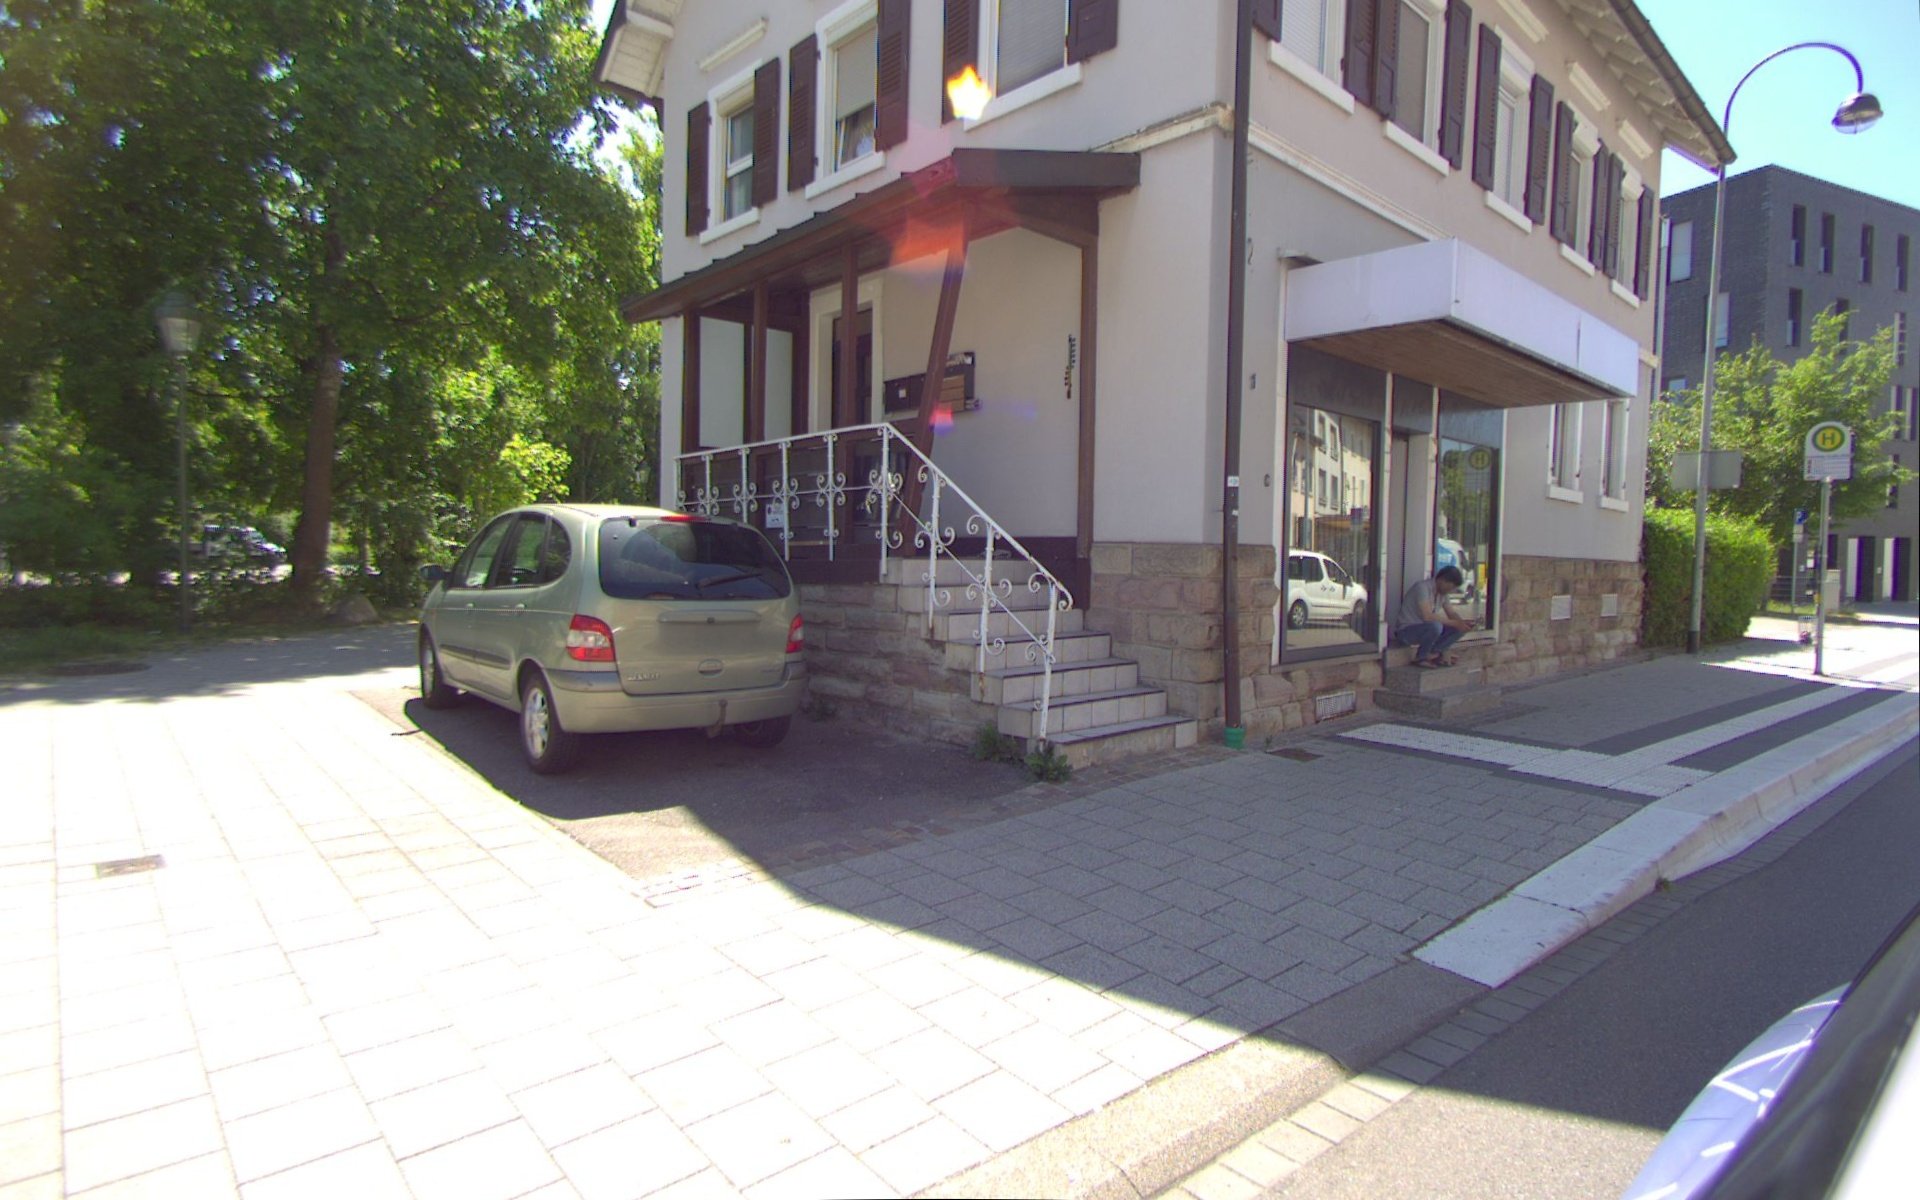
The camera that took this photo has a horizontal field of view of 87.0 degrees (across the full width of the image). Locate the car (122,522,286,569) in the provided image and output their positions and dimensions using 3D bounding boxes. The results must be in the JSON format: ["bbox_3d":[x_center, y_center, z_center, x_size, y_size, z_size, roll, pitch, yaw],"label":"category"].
[{"bbox_3d":[-39.694,-2.843,53.350,6.623,2.266,2.199,1,3,-12],"label":"car"}]

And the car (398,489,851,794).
[{"bbox_3d":[-2.702,0.057,7.468,1.771,1.614,4.071,-1,5,-40],"label":"car"}]

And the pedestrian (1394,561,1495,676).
[{"bbox_3d":[4.567,0.157,9.539,0.712,1.011,0.591,-1,4,-43],"label":"pedestrian"}]
